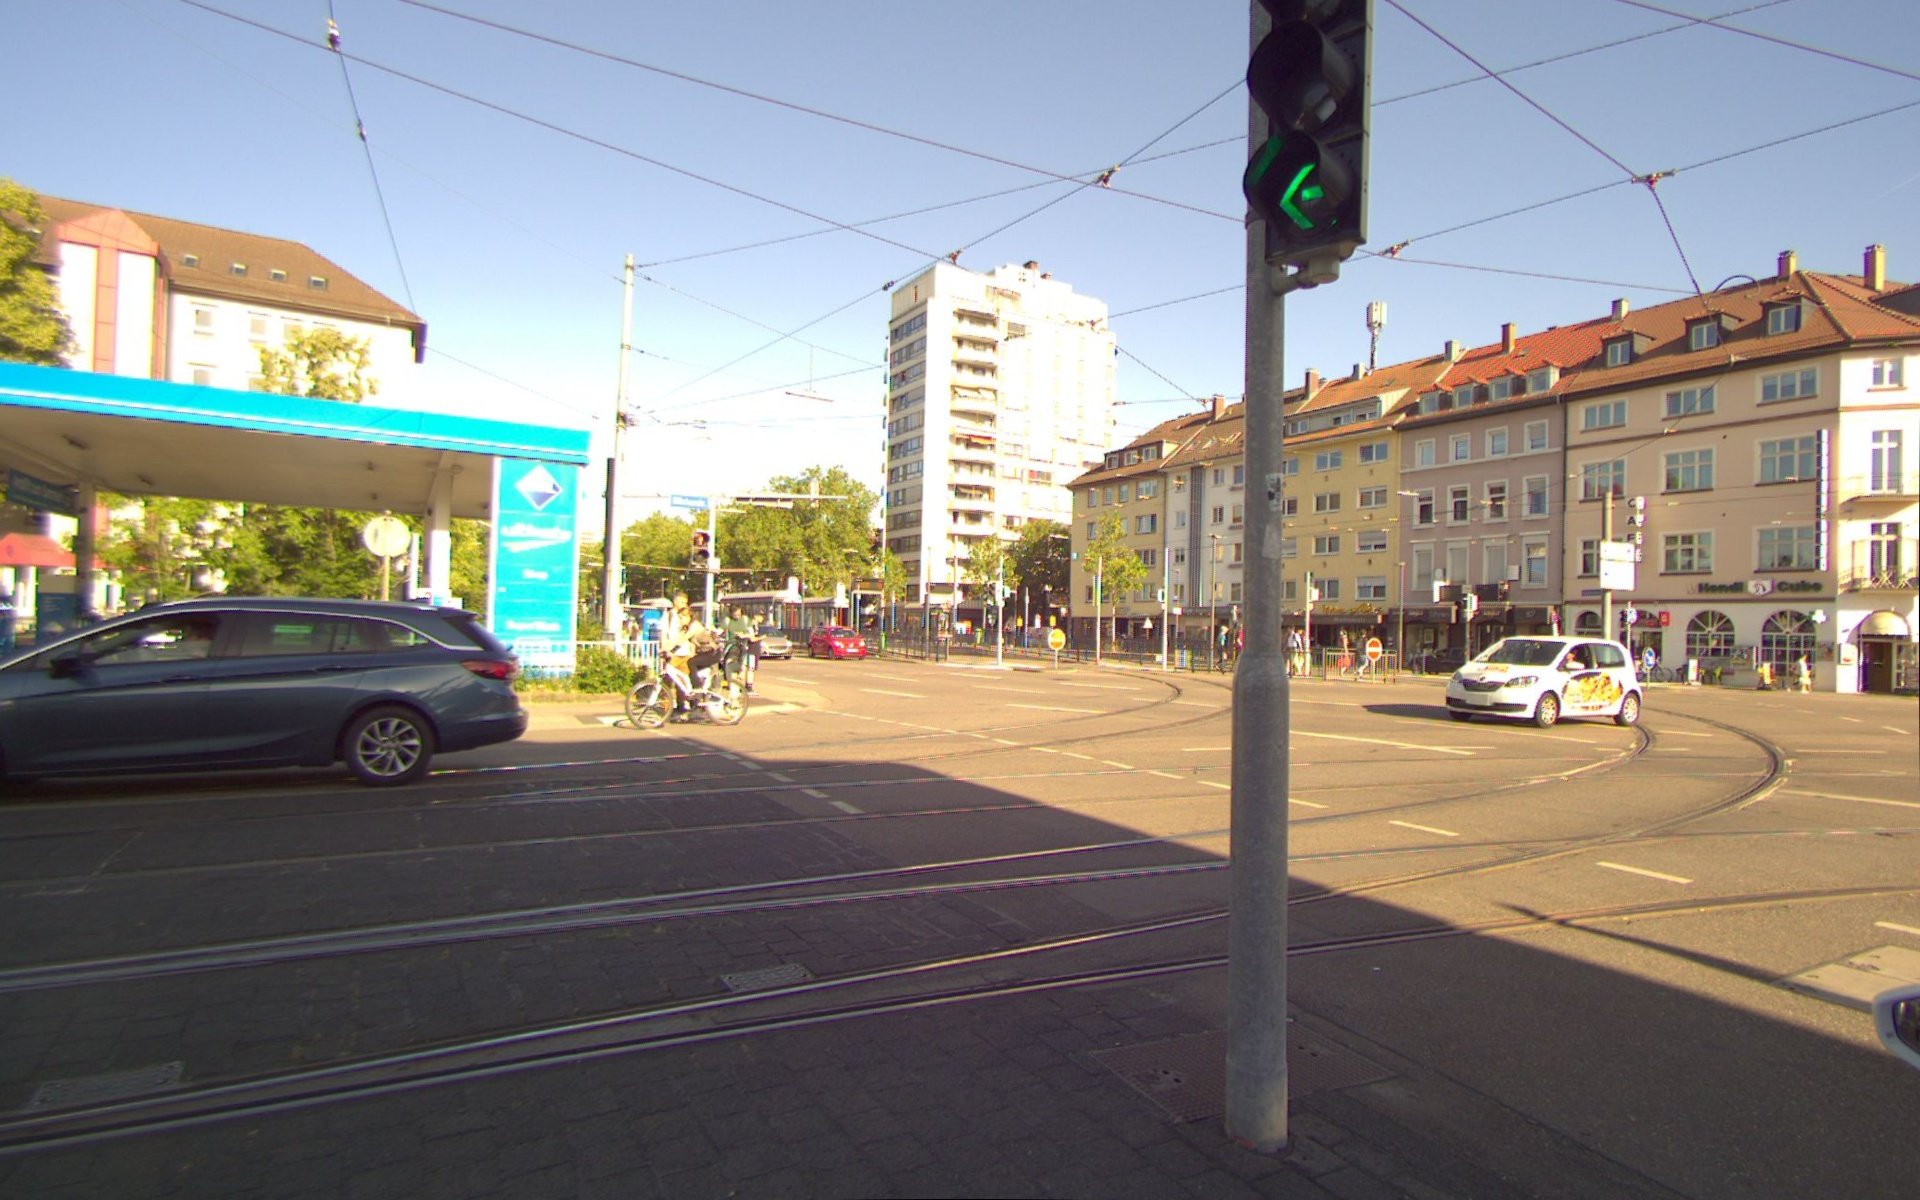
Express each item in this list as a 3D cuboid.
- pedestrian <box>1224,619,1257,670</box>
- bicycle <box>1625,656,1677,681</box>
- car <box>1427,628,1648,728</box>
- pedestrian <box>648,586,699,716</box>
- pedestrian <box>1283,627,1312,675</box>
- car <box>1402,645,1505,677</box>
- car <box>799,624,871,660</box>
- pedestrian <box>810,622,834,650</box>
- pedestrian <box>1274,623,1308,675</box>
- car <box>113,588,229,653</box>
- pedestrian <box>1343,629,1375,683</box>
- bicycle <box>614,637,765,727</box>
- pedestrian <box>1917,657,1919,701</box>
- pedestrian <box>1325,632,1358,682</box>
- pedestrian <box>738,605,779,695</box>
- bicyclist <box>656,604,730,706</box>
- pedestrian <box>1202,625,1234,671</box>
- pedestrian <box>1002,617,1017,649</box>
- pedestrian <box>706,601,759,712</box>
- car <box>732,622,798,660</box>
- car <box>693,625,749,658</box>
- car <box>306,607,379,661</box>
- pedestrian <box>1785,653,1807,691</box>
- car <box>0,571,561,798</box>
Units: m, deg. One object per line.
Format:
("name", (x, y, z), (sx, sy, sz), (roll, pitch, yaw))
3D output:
("pedestrian", (9.952, 1.583, 35.694), (0.833, 1.746, 0.824), (2, -2, -8))
("bicycle", (32.683, 3.224, 47.517), (0.578, 1.081, 1.929), (2, -2, -36))
("car", (9.848, 1.288, 17.100), (3.541, 1.517, 1.710), (2, -2, -30))
("pedestrian", (-4.446, 0.782, 15.572), (0.577, 1.951, 0.626), (2, -2, -30))
("pedestrian", (12.488, 1.873, 37.189), (0.807, 1.756, 0.789), (1, -1, 1))
("car", (25.672, 3.155, 52.382), (1.725, 1.458, 4.614), (3, -2, -32))
("car", (-5.649, 1.871, 45.128), (1.697, 1.505, 4.185), (2, -2, -30))
("pedestrian", (-7.282, 1.917, 53.009), (1.034, 1.439, 0.573), (2, -2, -35))
("pedestrian", (11.476, 1.699, 34.830), (0.810, 1.756, 0.787), (2, -1, -14))
("car", (-20.107, 0.524, 25.765), (1.697, 1.505, 4.185), (2, -2, -30))
("pedestrian", (13.447, 1.881, 33.858), (0.792, 1.756, 0.648), (2, -2, -32))
("bicycle", (-3.729, 1.119, 13.891), (1.931, 1.181, 0.484), (2, -2, -25))
("pedestrian", (37.081, 3.037, 38.287), (0.569, 1.663, 0.675), (2, -1, -16))
("pedestrian", (13.853, 2.052, 36.456), (0.887, 1.756, 0.841), (1, -1, 4))
("pedestrian", (-4.031, 0.987, 20.037), (0.721, 1.751, 0.746), (2, -2, -15))
("bicyclist", (-3.699, 0.755, 13.908), (0.885, 1.357, 0.602), (2, -2, -23))
("pedestrian", (9.380, 1.732, 36.497), (0.794, 1.652, 0.863), (2, -2, -13))
("pedestrian", (2.534, 1.668, 51.089), (0.585, 1.589, 0.730), (2, -2, -9))
("pedestrian", (-3.848, 0.954, 17.052), (0.727, 1.825, 0.742), (1, -1, -6))
("car", (-8.647, 1.788, 44.310), (1.721, 1.539, 3.971), (2, -2, -28))
("car", (-11.944, 2.052, 50.009), (1.721, 1.539, 3.971), (2, -2, -28))
("car", (-18.430, 1.001, 30.131), (1.697, 1.505, 4.185), (2, -2, -30))
("pedestrian", (34.273, 2.936, 41.176), (0.651, 1.544, 0.691), (0, -2, 45))
("car", (-5.760, 0.623, 8.101), (4.518, 1.517, 1.766), (2, -2, -29))
